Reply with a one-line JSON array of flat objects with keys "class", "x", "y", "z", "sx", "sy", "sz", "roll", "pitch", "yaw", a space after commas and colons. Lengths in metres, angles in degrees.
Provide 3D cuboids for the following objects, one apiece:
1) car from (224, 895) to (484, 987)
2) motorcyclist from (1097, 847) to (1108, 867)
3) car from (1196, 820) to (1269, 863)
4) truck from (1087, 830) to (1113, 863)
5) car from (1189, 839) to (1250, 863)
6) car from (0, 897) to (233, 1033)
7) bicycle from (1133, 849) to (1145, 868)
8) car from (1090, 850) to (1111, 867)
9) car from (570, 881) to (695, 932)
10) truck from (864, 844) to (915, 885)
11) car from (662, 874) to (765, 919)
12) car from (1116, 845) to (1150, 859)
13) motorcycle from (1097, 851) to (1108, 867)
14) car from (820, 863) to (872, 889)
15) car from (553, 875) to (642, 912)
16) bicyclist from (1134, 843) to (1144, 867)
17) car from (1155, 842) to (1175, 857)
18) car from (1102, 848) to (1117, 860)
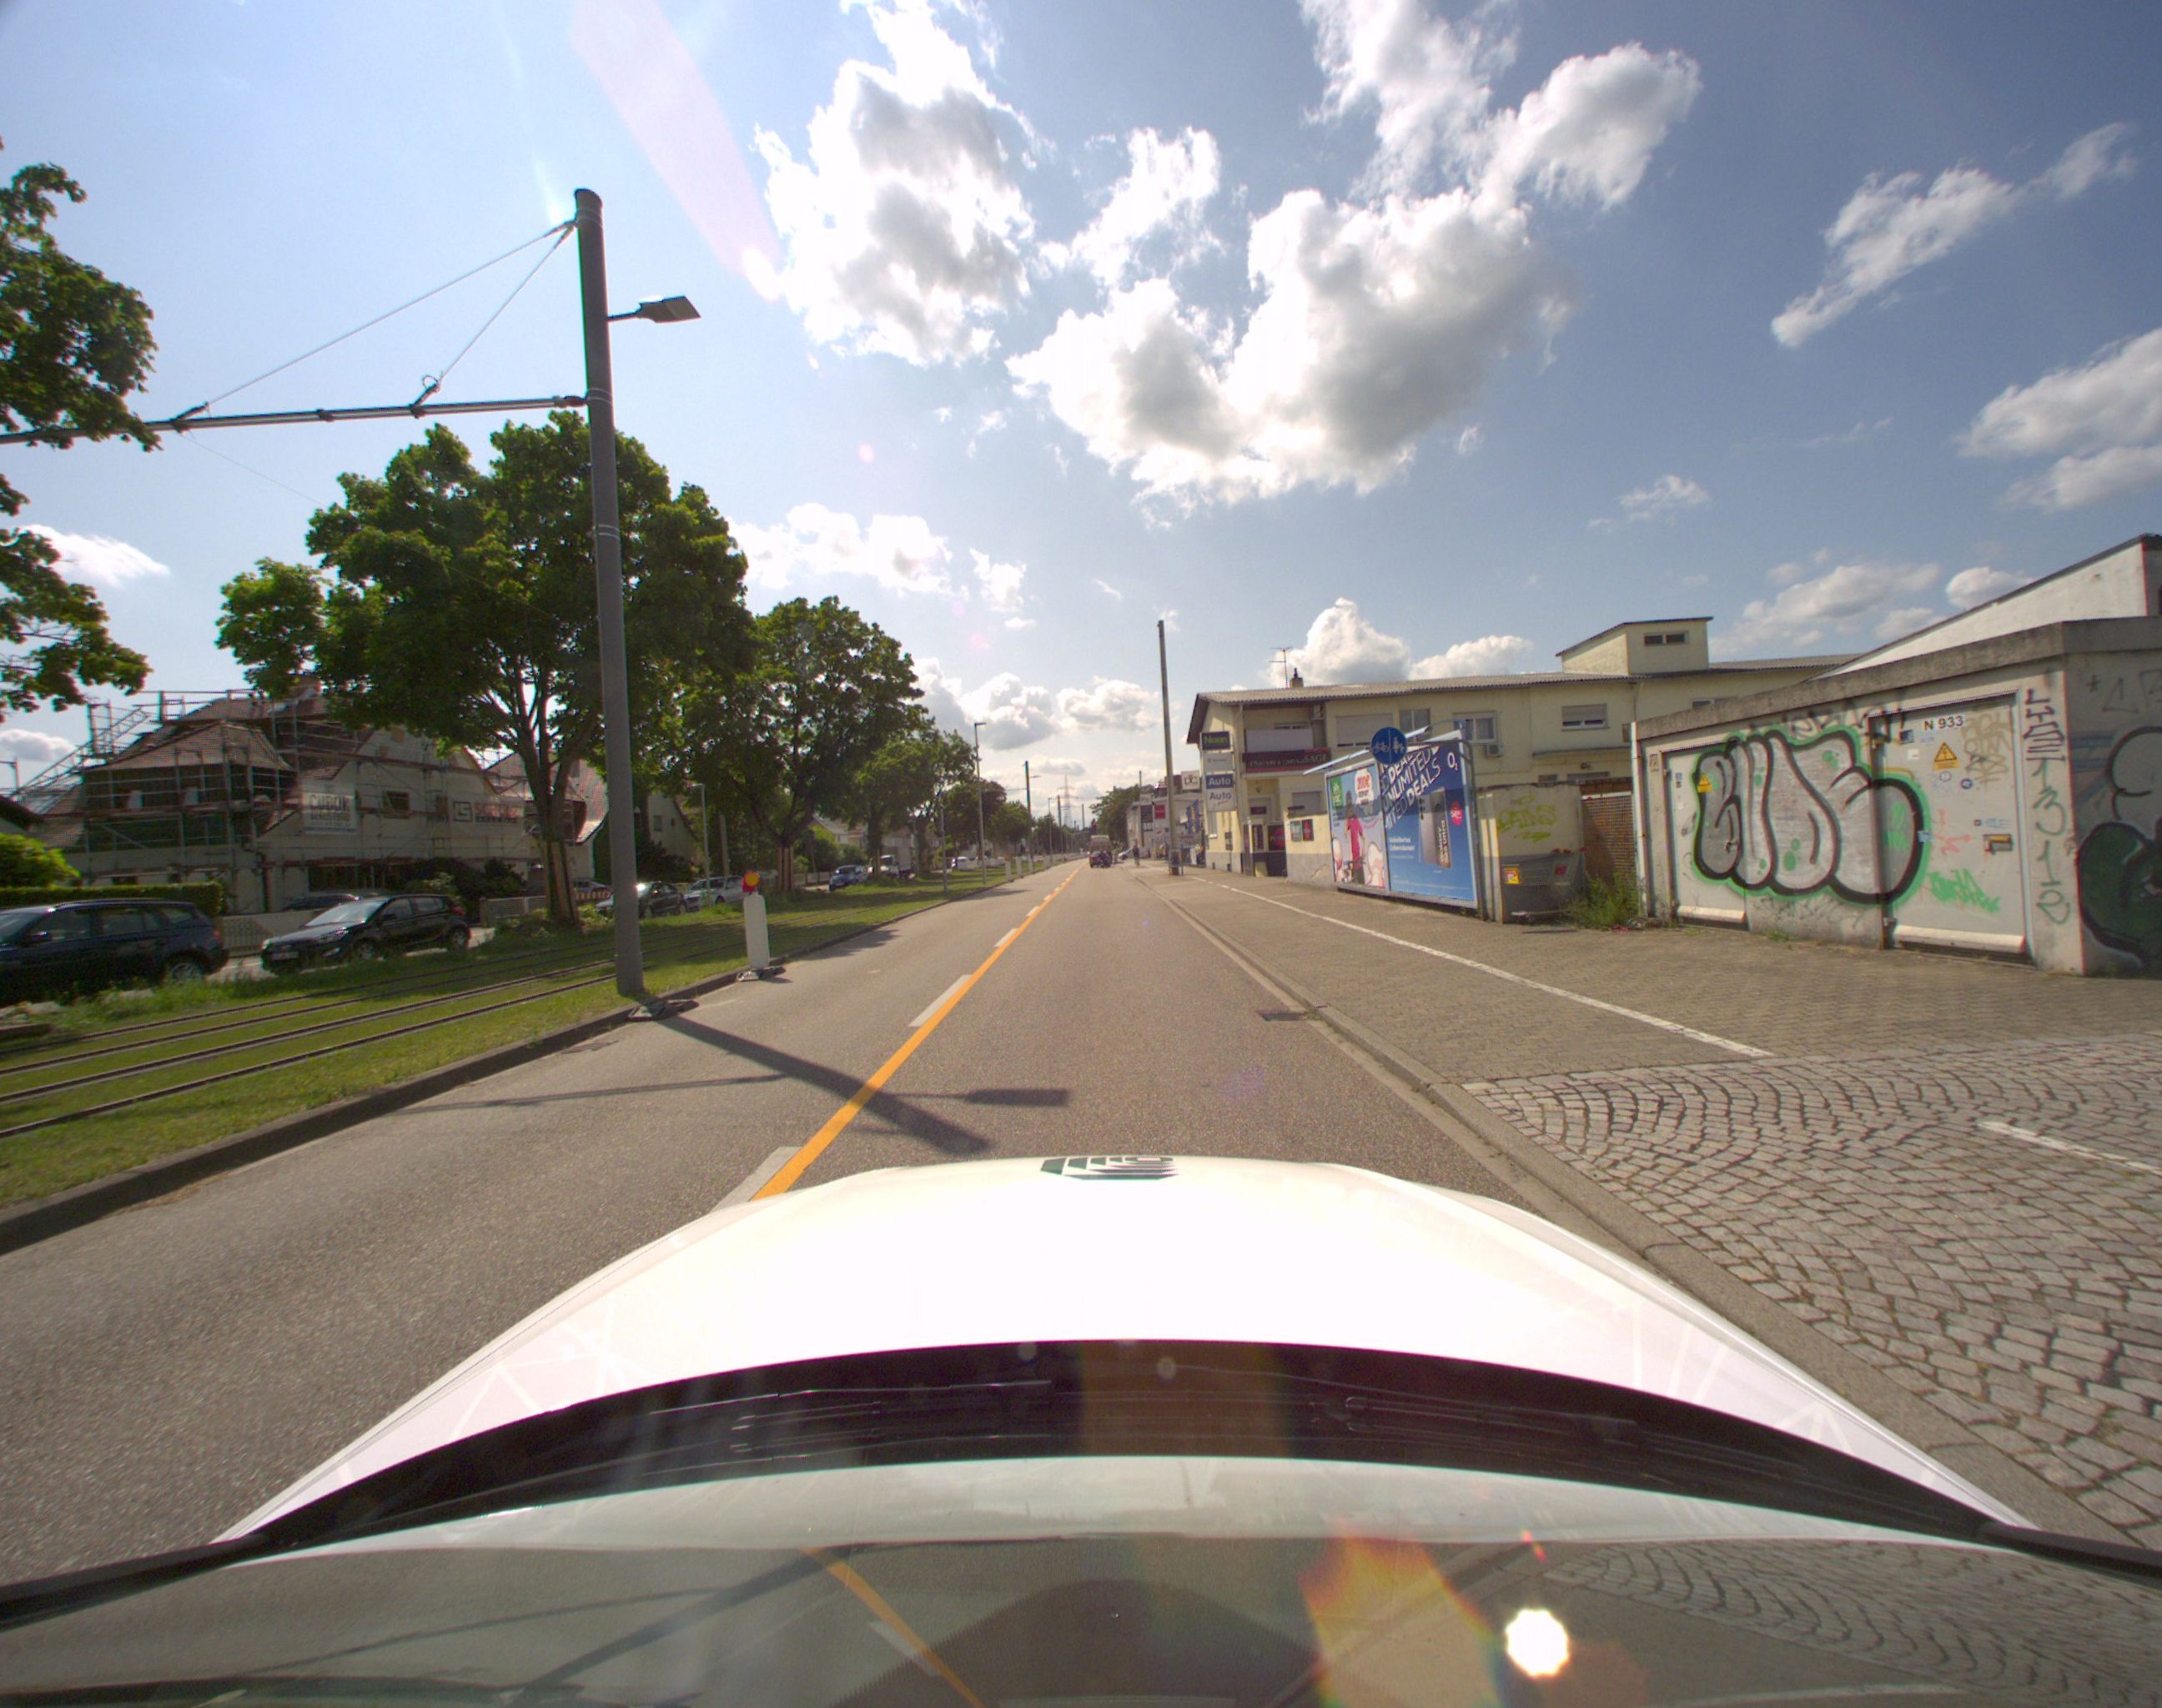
[{"class": "car", "x": -15.742, "y": 1.806, "z": 17.983, "sx": 1.987, "sy": 1.438, "sz": 4.001, "roll": -5, "pitch": 0, "yaw": 1}, {"class": "motorcyclist", "x": 1.855, "y": 0.263, "z": 70.139, "sx": 0.936, "sy": 1.615, "sz": 1.205, "roll": -1, "pitch": 0, "yaw": 1}, {"class": "car", "x": 10.247, "y": -0.825, "z": 55.381, "sx": 4.518, "sy": 2.573, "sz": 2.153, "roll": -4, "pitch": 0, "yaw": 2}, {"class": "truck", "x": 2.176, "y": -0.884, "z": 90.777, "sx": 2.600, "sy": 3.255, "sz": 9.187, "roll": -4, "pitch": 1, "yaw": 2}, {"class": "car", "x": 9.854, "y": -0.191, "z": 58.299, "sx": 4.160, "sy": 1.431, "sz": 1.824, "roll": -4, "pitch": 0, "yaw": 8}, {"class": "car", "x": -15.603, "y": 1.648, "z": 11.803, "sx": 1.989, "sy": 1.691, "sz": 4.388, "roll": -4, "pitch": 0, "yaw": -2}, {"class": "bicycle", "x": 4.456, "y": 0.308, "z": 62.460, "sx": 0.690, "sy": 1.361, "sz": 2.419, "roll": -4, "pitch": 0, "yaw": 1}, {"class": "car", "x": 1.798, "y": 0.350, "z": 74.796, "sx": 1.815, "sy": 1.424, "sz": 4.001, "roll": -3, "pitch": 0, "yaw": 1}, {"class": "car", "x": -15.380, "y": 1.762, "z": 28.175, "sx": 1.987, "sy": 1.317, "sz": 3.853, "roll": -6, "pitch": 0, "yaw": 1}, {"class": "truck", "x": -14.568, "y": 0.697, "z": 62.339, "sx": 1.987, "sy": 2.767, "sz": 6.278, "roll": -7, "pitch": 0, "yaw": 1}, {"class": "car", "x": -15.119, "y": 1.700, "z": 33.828, "sx": 1.798, "sy": 1.482, "sz": 4.941, "roll": -4, "pitch": 0, "yaw": 2}, {"class": "car", "x": 7.161, "y": -0.294, "z": 112.202, "sx": 4.326, "sy": 1.551, "sz": 1.945, "roll": -4, "pitch": -1, "yaw": -7}, {"class": "motorcycle", "x": 1.860, "y": 0.417, "z": 70.319, "sx": 0.936, "sy": 1.320, "sz": 2.646, "roll": -1, "pitch": 0, "yaw": 1}, {"class": "car", "x": -14.773, "y": 1.363, "z": 51.395, "sx": 1.988, "sy": 1.453, "sz": 3.999, "roll": -4, "pitch": 0, "yaw": -1}, {"class": "car", "x": -26.616, "y": 2.145, "z": 44.902, "sx": 3.635, "sy": 1.684, "sz": 1.873, "roll": -4, "pitch": -1, "yaw": 0}, {"class": "bicyclist", "x": 4.432, "y": 0.060, "z": 62.385, "sx": 0.669, "sy": 1.744, "sz": 0.814, "roll": -3, "pitch": 0, "yaw": 1}, {"class": "car", "x": 10.469, "y": -0.517, "z": 101.482, "sx": 1.953, "sy": 1.648, "sz": 3.998, "roll": -4, "pitch": 0, "yaw": -1}, {"class": "car", "x": 3.602, "y": -0.032, "z": 103.978, "sx": 1.815, "sy": 1.464, "sz": 4.002, "roll": -3, "pitch": 0, "yaw": 2}]
